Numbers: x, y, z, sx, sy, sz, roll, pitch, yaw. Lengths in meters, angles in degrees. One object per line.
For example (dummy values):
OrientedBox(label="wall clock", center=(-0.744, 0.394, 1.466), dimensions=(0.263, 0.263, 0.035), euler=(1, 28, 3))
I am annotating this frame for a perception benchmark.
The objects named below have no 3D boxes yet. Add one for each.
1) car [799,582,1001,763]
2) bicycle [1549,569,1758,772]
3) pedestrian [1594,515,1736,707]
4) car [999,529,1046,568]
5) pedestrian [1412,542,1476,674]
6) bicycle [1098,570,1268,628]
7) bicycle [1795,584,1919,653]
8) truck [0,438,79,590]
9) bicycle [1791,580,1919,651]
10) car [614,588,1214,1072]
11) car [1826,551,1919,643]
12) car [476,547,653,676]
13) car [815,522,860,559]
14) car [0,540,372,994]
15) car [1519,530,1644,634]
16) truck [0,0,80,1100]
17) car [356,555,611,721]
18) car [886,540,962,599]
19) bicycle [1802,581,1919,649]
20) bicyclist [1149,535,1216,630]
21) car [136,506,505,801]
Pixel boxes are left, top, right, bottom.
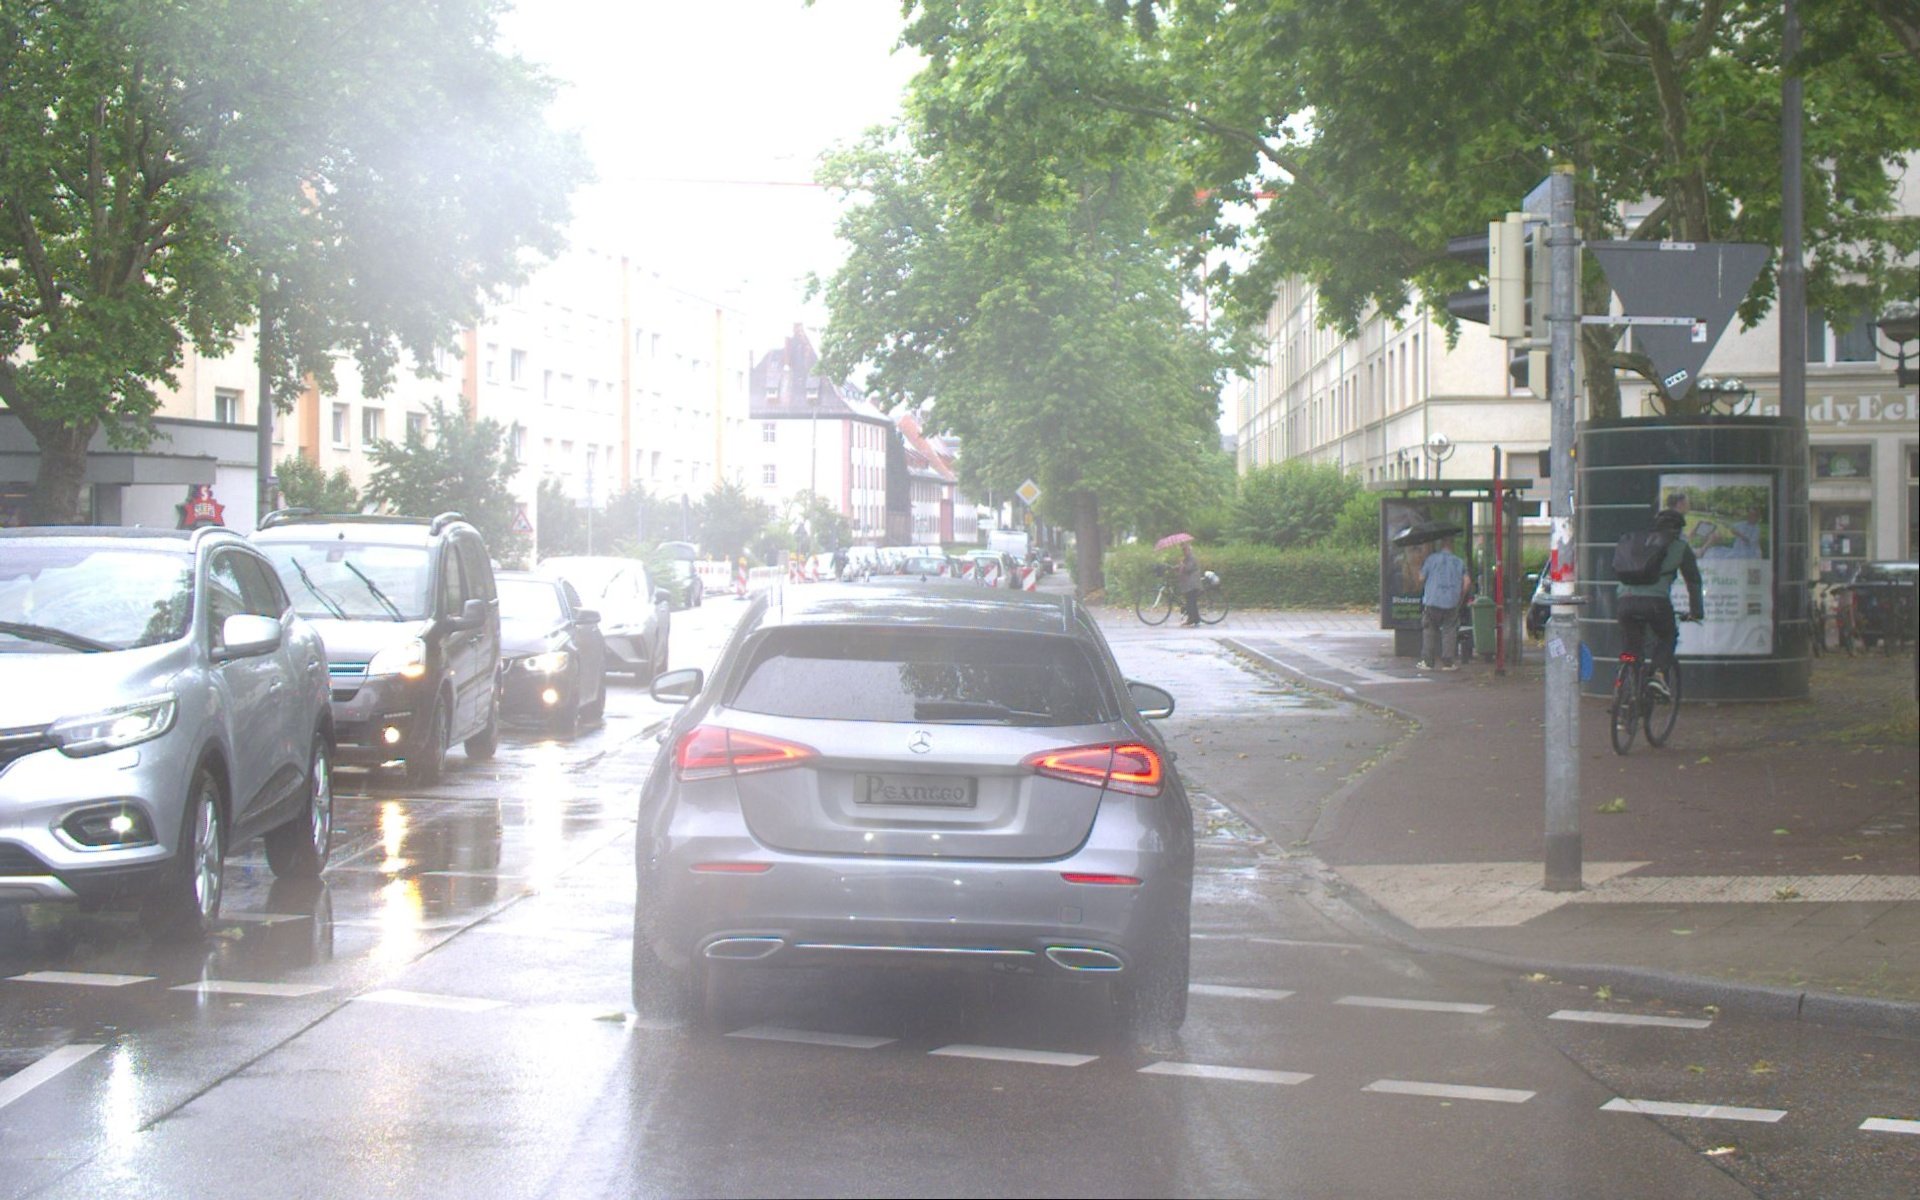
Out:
OrientedBox(label="car", center=(-0.518, 0.573, 29.689), dimensions=(1.607, 1.368, 4.000), euler=(-1, 1, -1))
OrientedBox(label="bicycle", center=(5.187, 0.487, 25.552), dimensions=(0.750, 1.372, 2.703), euler=(0, 1, 28))
OrientedBox(label="pedestrian", center=(5.286, 0.071, 25.744), dimensions=(0.745, 1.393, 1.045), euler=(0, 1, 29))
OrientedBox(label="car", center=(2.978, -2.443, 162.439), dimensions=(2.047, 1.830, 4.792), euler=(0, 1, 3))
OrientedBox(label="pedestrian", center=(6.158, 0.100, 43.761), dimensions=(0.716, 1.663, 0.665), euler=(0, 1, 1))
OrientedBox(label="bicycle", center=(4.418, -0.025, 68.097), dimensions=(3.205, 1.108, 1.054), euler=(-1, 0, -19))
OrientedBox(label="bicycle", center=(13.051, 0.259, 48.821), dimensions=(2.254, 0.965, 0.534), euler=(0, 1, 23))
OrientedBox(label="truck", center=(-24.520, -2.064, 83.372), dimensions=(5.682, 3.632, 2.175), euler=(0, 1, 3))
OrientedBox(label="bicycle", center=(12.861, 0.214, 48.208), dimensions=(2.284, 0.979, 0.545), euler=(0, 1, 23))
OrientedBox(label="car", center=(-0.172, 0.692, 12.163), dimensions=(1.791, 1.368, 3.507), euler=(1, 1, -1))
OrientedBox(label="car", center=(14.325, -0.022, 52.602), dimensions=(1.584, 1.332, 3.258), euler=(0, -1, 23))
OrientedBox(label="car", center=(-4.834, 0.101, 42.481), dimensions=(1.845, 1.505, 4.056), euler=(0, 1, -2))
OrientedBox(label="car", center=(-6.034, -2.939, 170.168), dimensions=(1.890, 1.830, 4.000), euler=(0, 1, 3))
OrientedBox(label="car", center=(-3.615, 0.557, 14.128), dimensions=(1.742, 1.598, 4.000), euler=(0, 1, -1))
OrientedBox(label="car", center=(9.823, -0.263, 54.203), dimensions=(1.689, 1.546, 3.520), euler=(0, -1, 15))
OrientedBox(label="truck", center=(-3.677, -0.624, 4.518), dimensions=(2.845, 4.011, 10.318), euler=(-1, 1, -3))
OrientedBox(label="car", center=(-4.278, 0.311, 31.437), dimensions=(1.742, 1.385, 4.363), euler=(1, 0, -1))
OrientedBox(label="car", center=(-1.015, -0.848, 94.296), dimensions=(1.993, 1.568, 4.000), euler=(0, 1, -2))
OrientedBox(label="bicycle", center=(13.295, 0.213, 49.446), dimensions=(2.249, 0.965, 0.584), euler=(0, 1, 23))
OrientedBox(label="bicyclist", center=(4.400, -0.345, 68.036), dimensions=(0.938, 1.862, 1.143), euler=(-1, 0, -19))
OrientedBox(label="car", center=(-4.296, 0.299, 23.682), dimensions=(1.806, 1.855, 4.110), euler=(0, 1, -1))
